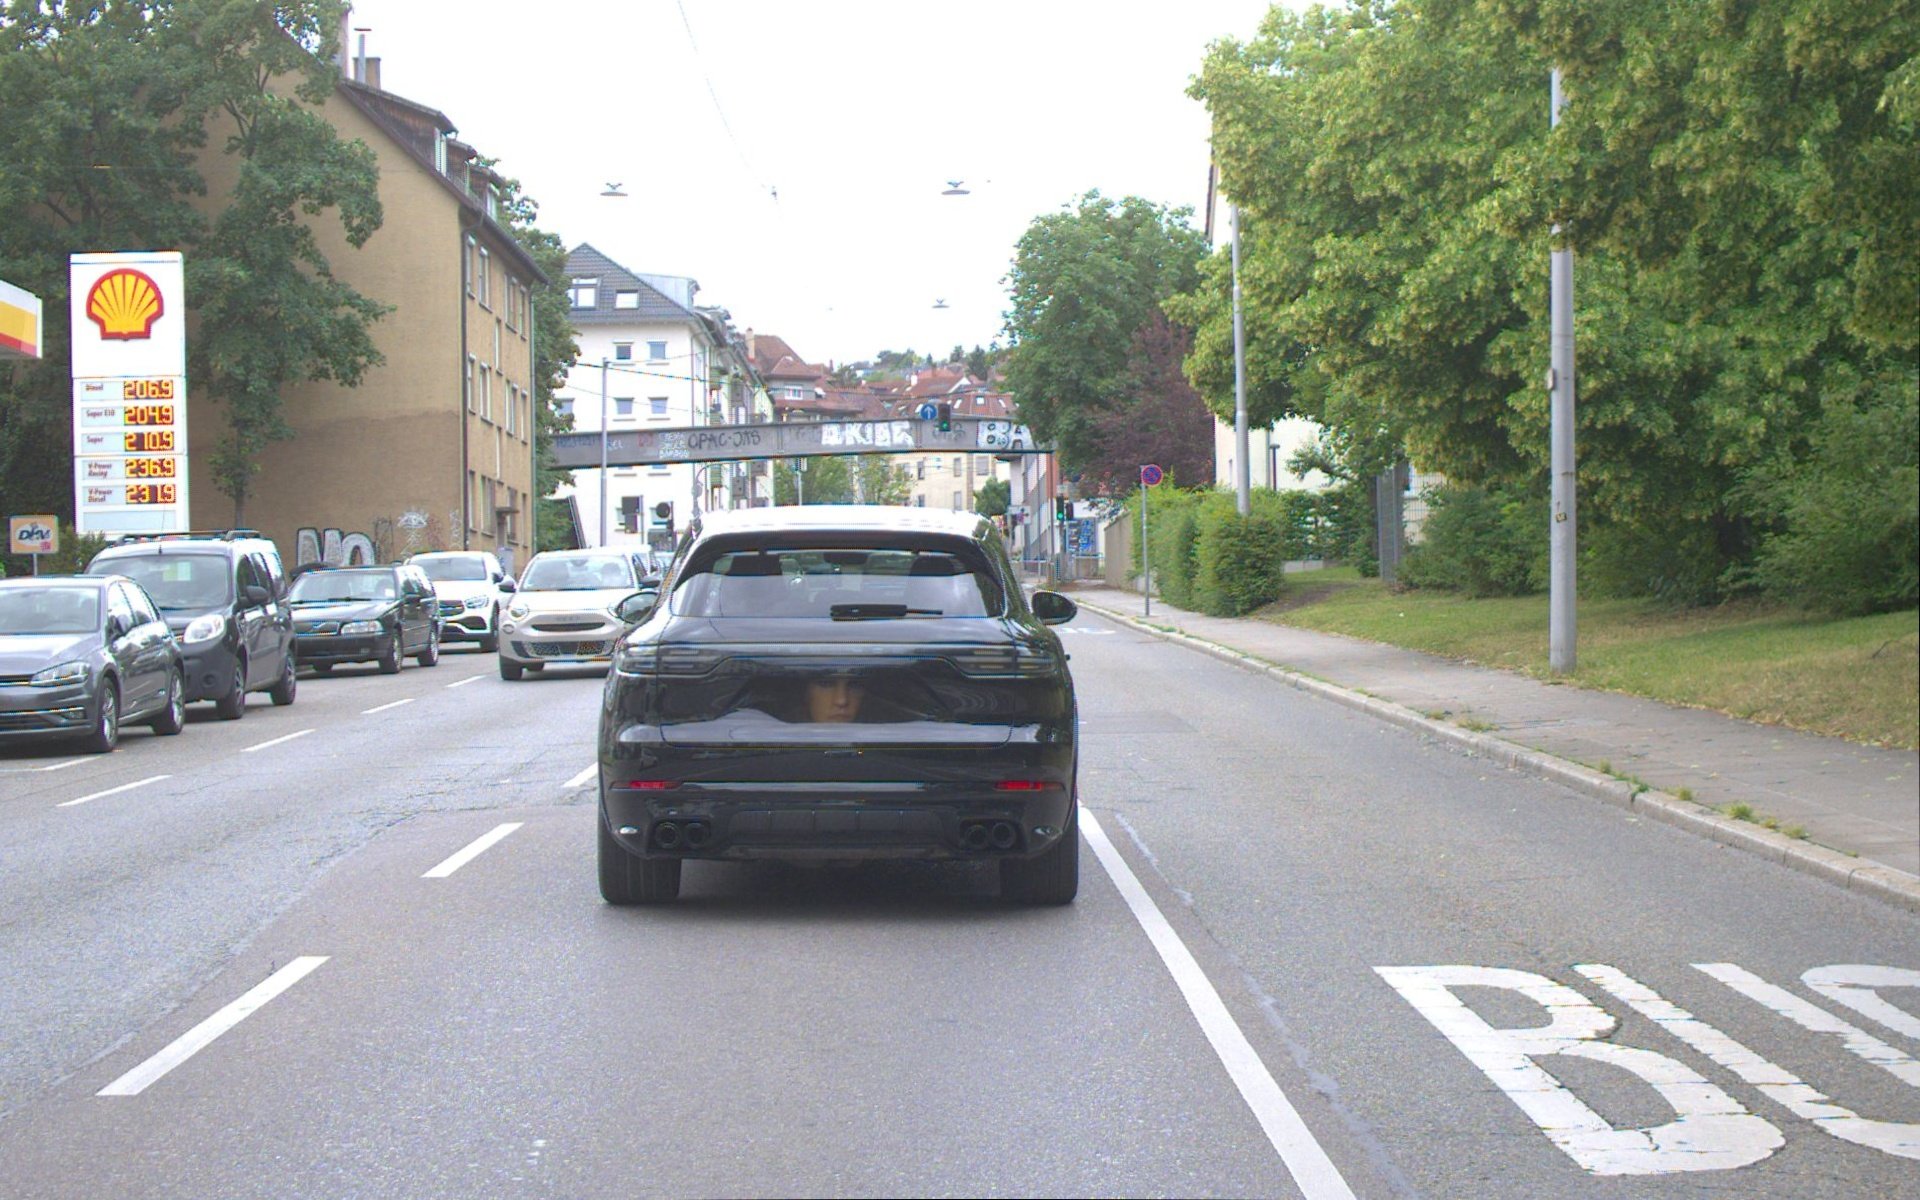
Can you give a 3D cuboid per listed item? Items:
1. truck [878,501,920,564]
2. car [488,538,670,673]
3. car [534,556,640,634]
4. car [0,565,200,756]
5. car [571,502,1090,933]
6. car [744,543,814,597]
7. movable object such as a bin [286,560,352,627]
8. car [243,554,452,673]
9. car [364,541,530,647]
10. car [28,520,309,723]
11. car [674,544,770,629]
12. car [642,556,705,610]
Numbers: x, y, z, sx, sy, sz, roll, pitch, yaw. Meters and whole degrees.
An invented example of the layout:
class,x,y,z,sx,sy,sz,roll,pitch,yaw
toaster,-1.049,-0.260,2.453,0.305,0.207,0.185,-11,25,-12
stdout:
class,x,y,z,sx,sy,sz,roll,pitch,yaw
truck,-3.459,-3.776,195.075,2.266,3.413,9.879,-1,1,-1
car,-4.634,0.028,42.276,1.797,1.520,4.000,-2,1,-1
car,-8.305,-0.135,76.771,1.783,1.603,4.264,-3,1,1
car,-7.780,0.472,29.047,1.790,1.445,4.218,-2,1,-1
car,-0.510,0.403,15.261,1.993,1.656,4.000,0,1,0
car,-5.230,-0.884,99.732,1.778,1.461,4.499,-2,1,0
movable object such as a bin,-13.898,-0.145,74.548,1.281,1.423,1.279,0,1,-5
car,-8.142,0.141,46.103,1.798,1.426,4.743,-2,1,2
car,-8.175,-0.122,55.162,1.915,1.572,4.700,-2,1,0
car,-7.853,0.164,34.543,1.851,1.829,4.702,-2,1,-2
car,-4.624,-0.281,67.158,1.683,1.550,3.719,-2,1,-2
car,-8.923,-0.539,107.296,1.745,1.563,3.908,-2,1,-3
